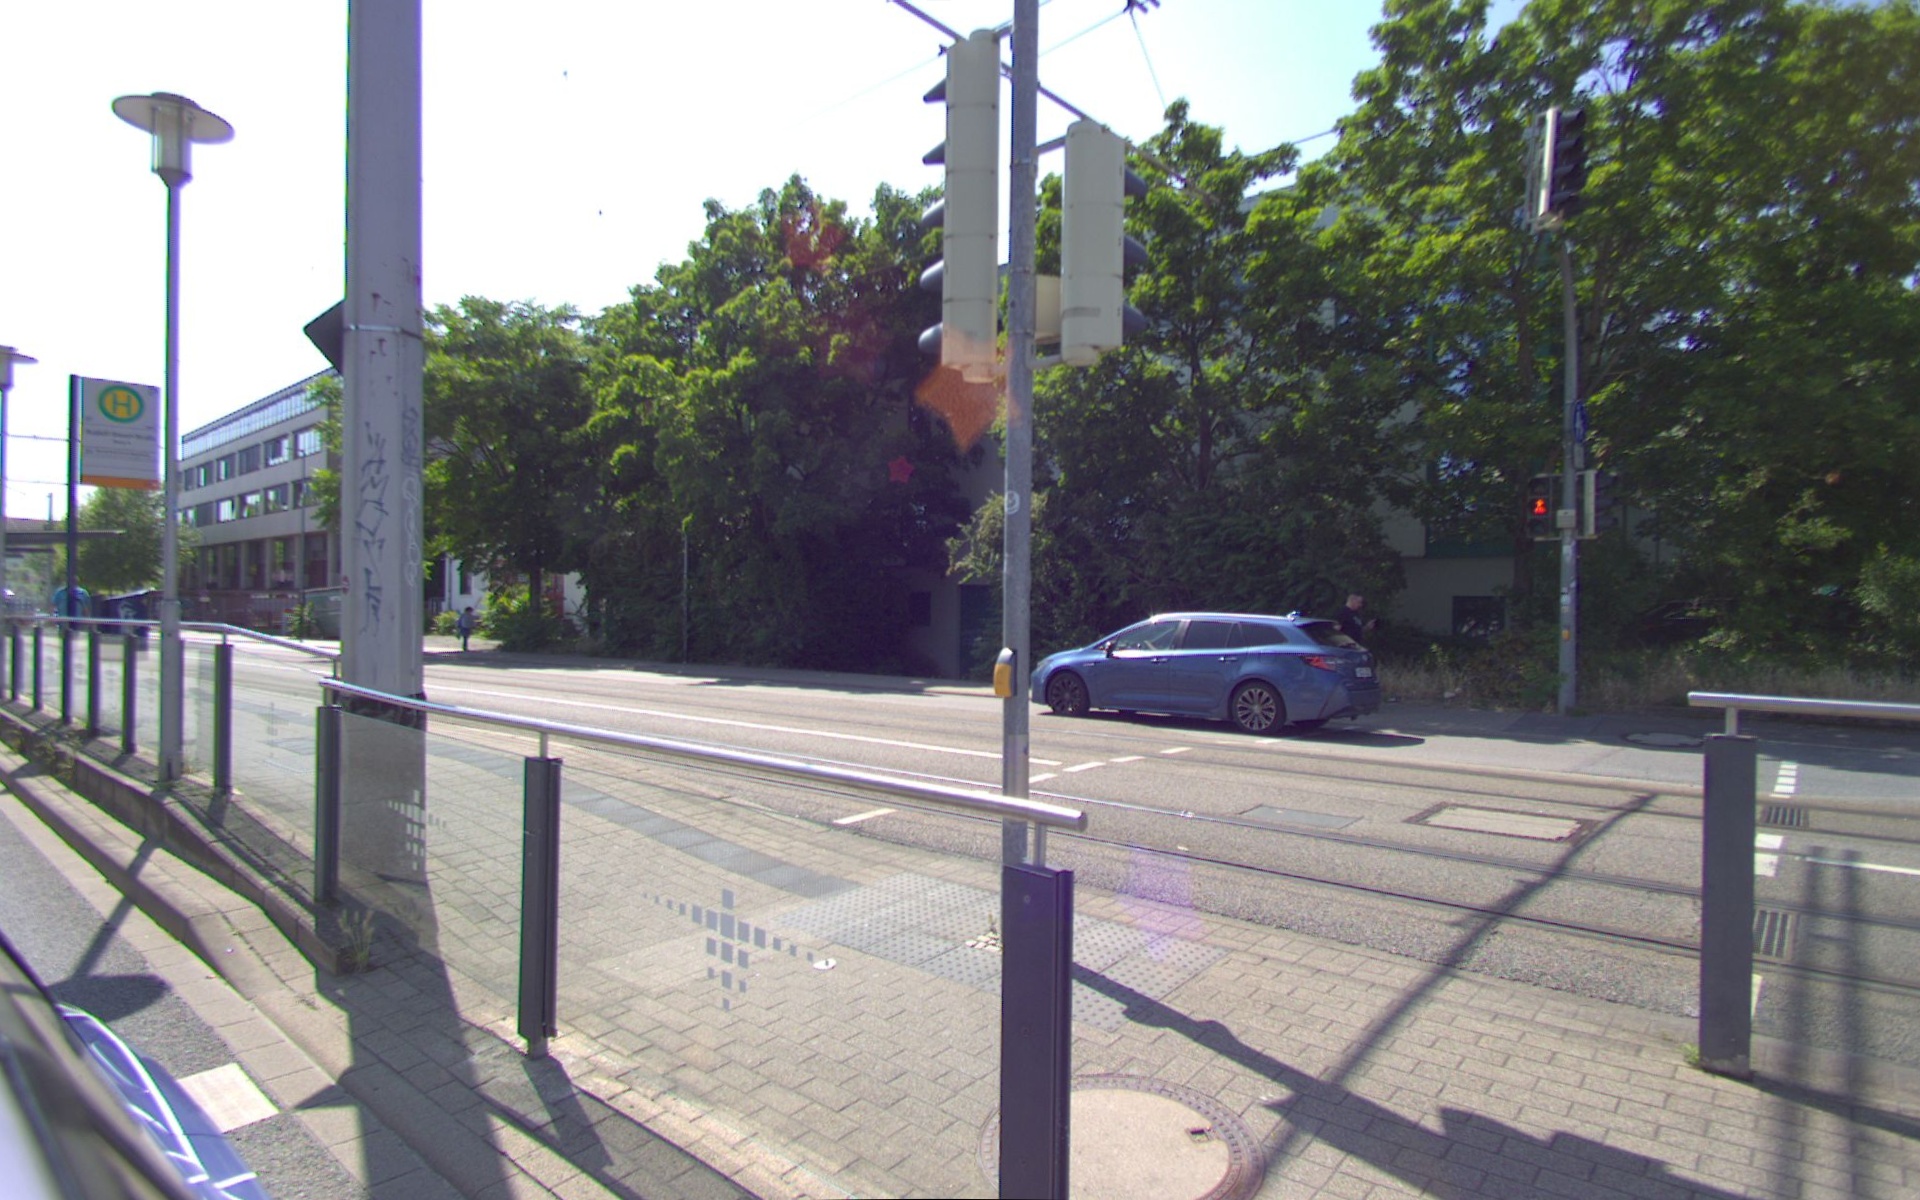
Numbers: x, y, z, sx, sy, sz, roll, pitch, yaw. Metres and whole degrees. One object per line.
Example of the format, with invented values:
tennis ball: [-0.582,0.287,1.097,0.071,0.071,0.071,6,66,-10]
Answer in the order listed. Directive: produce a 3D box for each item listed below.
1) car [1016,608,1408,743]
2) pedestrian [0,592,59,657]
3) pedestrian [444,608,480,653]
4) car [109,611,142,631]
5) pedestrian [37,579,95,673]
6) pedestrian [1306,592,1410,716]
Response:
car: [3.138,0.877,13.142,4.592,1.453,1.887,-1,-3,40]
pedestrian: [-16.430,0.423,17.695,0.726,1.107,0.933,-1,-1,40]
pedestrian: [-17.419,1.067,35.411,0.845,1.538,0.862,-1,-1,40]
car: [-71.220,1.795,86.361,1.969,1.635,4.005,2,-2,-42]
pedestrian: [-17.038,0.488,19.283,0.944,1.738,0.716,-1,-1,41]
pedestrian: [5.684,0.739,14.455,1.159,1.683,0.877,0,0,41]
